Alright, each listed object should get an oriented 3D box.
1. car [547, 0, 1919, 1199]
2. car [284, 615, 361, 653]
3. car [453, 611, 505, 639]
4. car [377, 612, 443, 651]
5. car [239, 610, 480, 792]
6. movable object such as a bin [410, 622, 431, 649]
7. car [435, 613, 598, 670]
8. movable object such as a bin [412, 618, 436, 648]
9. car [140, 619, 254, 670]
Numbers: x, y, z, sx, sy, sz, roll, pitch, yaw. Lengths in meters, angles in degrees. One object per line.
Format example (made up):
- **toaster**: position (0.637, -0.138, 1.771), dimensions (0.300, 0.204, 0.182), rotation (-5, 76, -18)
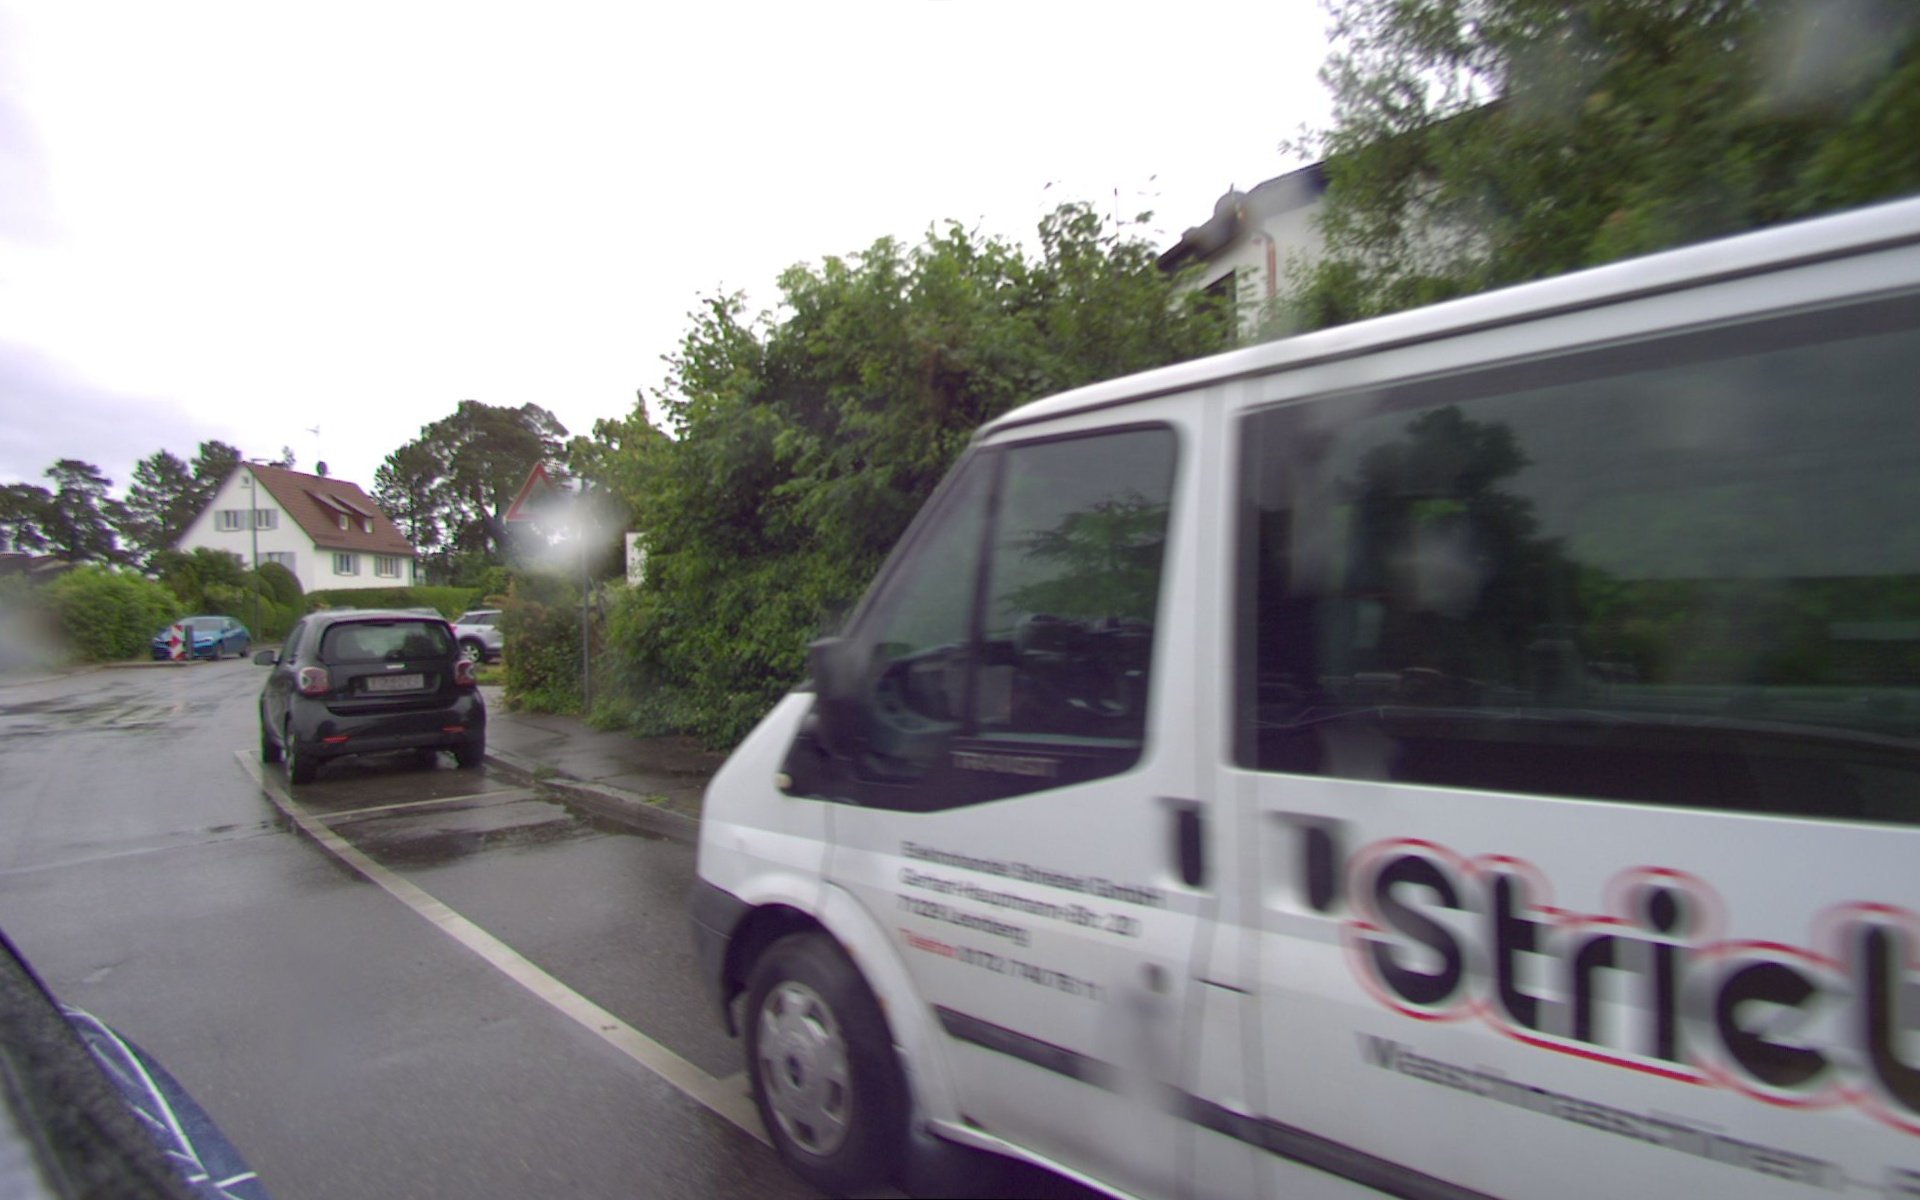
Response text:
- **car**: position (1.347, 0.371, 2.119), dimensions (5.172, 1.989, 2.089), rotation (-1, -1, 43)
- **car**: position (-29.257, 1.527, 46.574), dimensions (1.875, 1.553, 4.228), rotation (-2, 0, -17)
- **car**: position (-31.349, 1.579, 66.044), dimensions (1.641, 1.651, 4.220), rotation (-2, 0, -4)
- **car**: position (-25.084, 1.397, 46.265), dimensions (1.903, 1.617, 4.357), rotation (-1, 0, -19)
- **car**: position (-6.158, 0.889, 10.265), dimensions (1.582, 1.523, 2.947), rotation (-1, 0, -41)
- **movable object such as a bin**: position (-19.407, 1.265, 36.406), dimensions (0.571, 0.946, 0.505), rotation (0, -2, -16)
- **car**: position (-12.289, 1.126, 28.289), dimensions (3.933, 1.451, 1.773), rotation (0, 0, -12)
- **movable object such as a bin**: position (-19.526, 1.204, 36.867), dimensions (0.682, 1.100, 0.421), rotation (0, -2, -16)
- **car**: position (-25.461, 1.431, 33.923), dimensions (1.770, 1.479, 4.229), rotation (-2, 0, -19)
